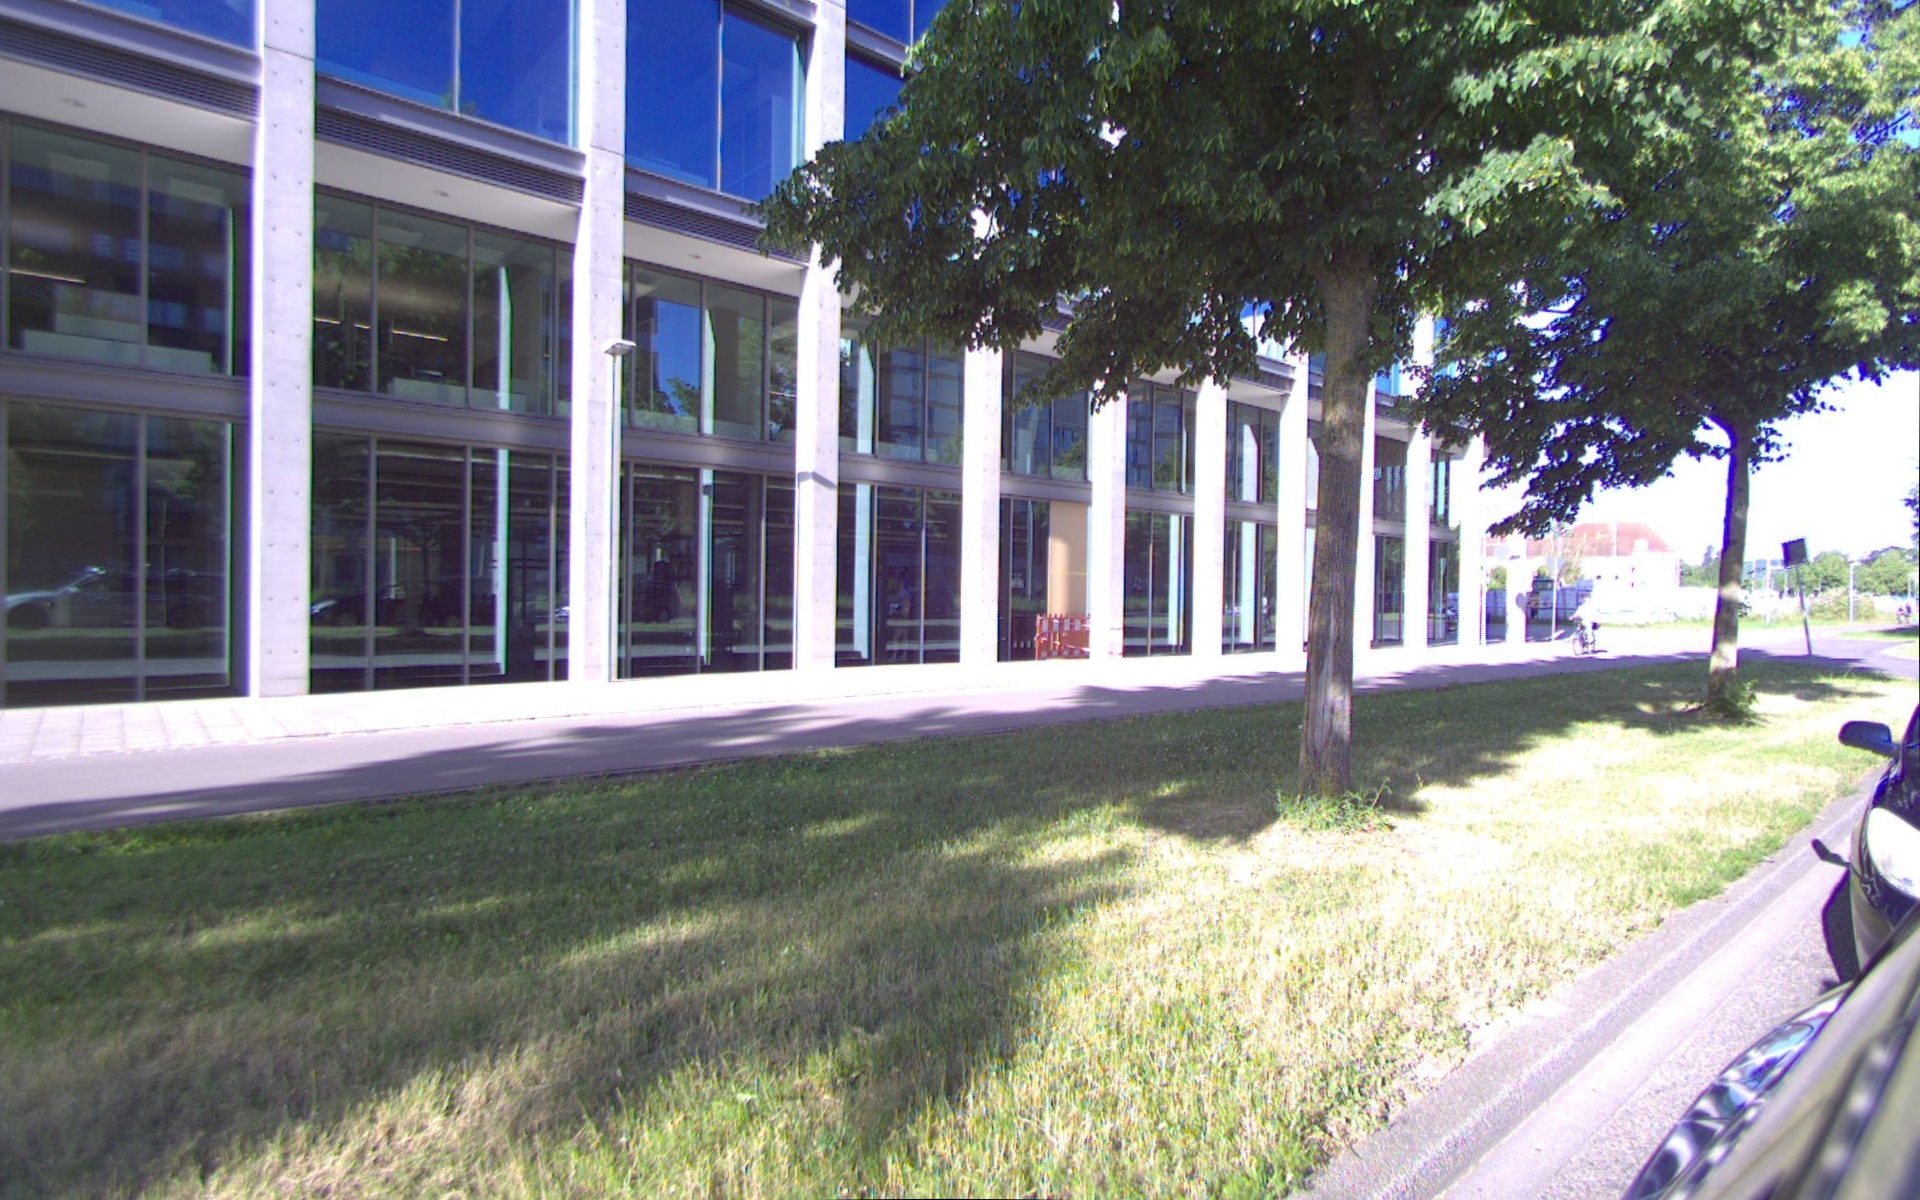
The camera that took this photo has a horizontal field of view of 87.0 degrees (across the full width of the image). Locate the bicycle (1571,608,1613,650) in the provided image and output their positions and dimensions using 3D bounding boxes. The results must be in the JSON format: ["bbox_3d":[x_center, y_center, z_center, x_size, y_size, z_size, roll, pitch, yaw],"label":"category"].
[{"bbox_3d":[18.824,0.853,30.134,1.896,1.170,0.590,1,2,-45],"label":"bicycle"}]

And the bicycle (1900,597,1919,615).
[{"bbox_3d":[76.116,0.487,80.935,3.930,1.380,0.930,0,1,-41],"label":"bicycle"}]

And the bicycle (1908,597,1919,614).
[{"bbox_3d":[79.368,0.452,83.764,3.930,1.380,0.930,0,1,-41],"label":"bicycle"}]

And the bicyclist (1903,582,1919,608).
[{"bbox_3d":[76.146,-0.416,80.940,1.101,2.082,0.930,0,0,-41],"label":"bicyclist"}]

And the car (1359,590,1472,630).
[{"bbox_3d":[19.513,0.384,43.485,1.963,1.598,3.997,0,1,-38],"label":"car"}]

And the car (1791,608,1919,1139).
[{"bbox_3d":[4.826,0.804,3.867,4.403,1.500,1.845,0,1,-41],"label":"car"}]

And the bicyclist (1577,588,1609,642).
[{"bbox_3d":[18.840,0.438,30.119,0.688,1.558,0.590,1,2,-44],"label":"bicyclist"}]
